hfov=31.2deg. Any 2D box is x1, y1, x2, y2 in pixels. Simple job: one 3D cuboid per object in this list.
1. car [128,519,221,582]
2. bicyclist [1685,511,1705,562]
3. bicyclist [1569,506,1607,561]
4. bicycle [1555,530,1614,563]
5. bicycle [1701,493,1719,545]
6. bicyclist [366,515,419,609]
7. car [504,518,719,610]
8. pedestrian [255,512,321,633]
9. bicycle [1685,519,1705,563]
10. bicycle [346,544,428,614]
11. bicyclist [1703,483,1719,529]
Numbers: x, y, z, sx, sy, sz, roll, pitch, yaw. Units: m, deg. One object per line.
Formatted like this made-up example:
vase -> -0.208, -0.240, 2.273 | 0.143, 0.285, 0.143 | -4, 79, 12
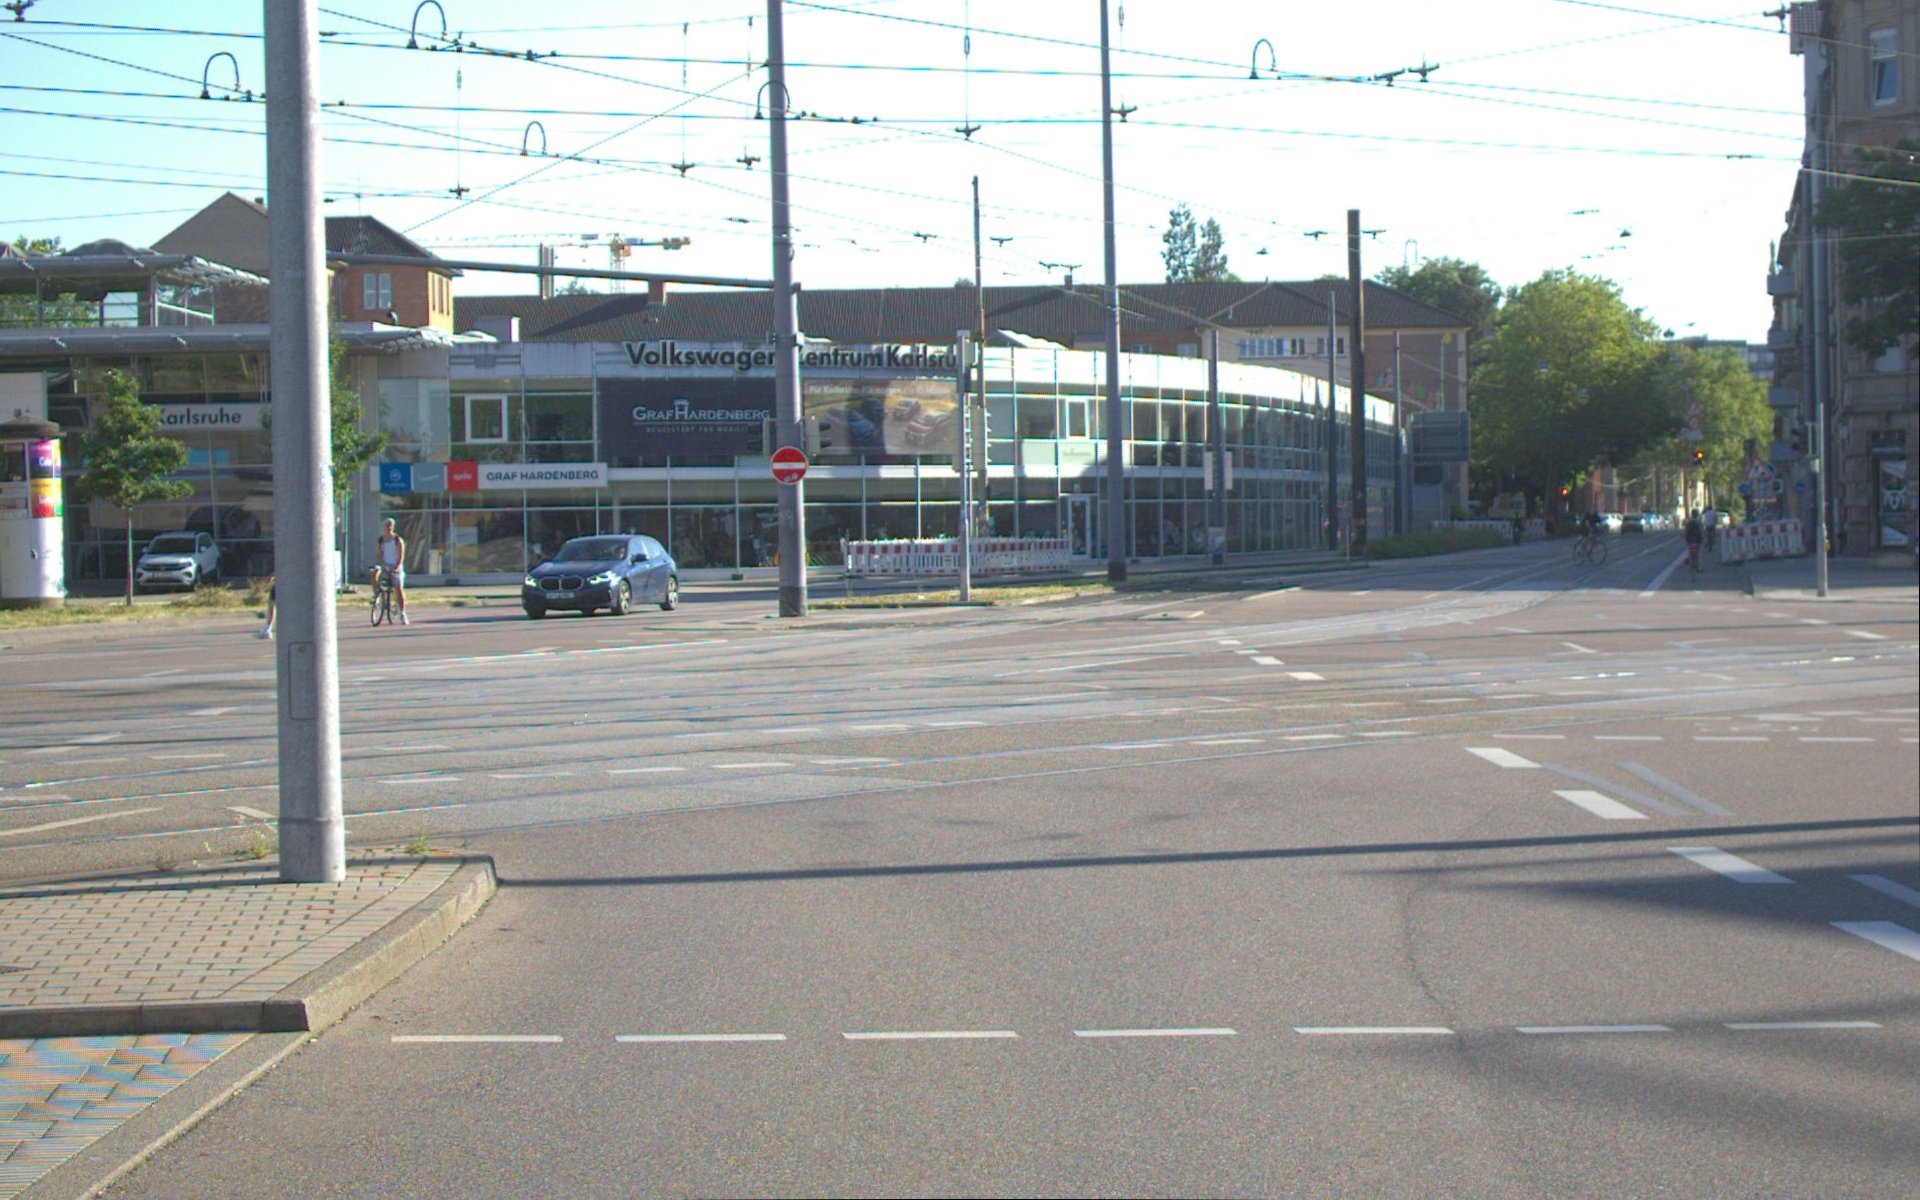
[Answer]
car -> -22.665, -1.421, 99.342 | 1.993, 1.744, 4.001 | 1, 1, -4
bicyclist -> 16.245, -1.397, 76.000 | 0.408, 1.112, 0.399 | 1, 0, 11
bicyclist -> 18.243, -1.938, 99.831 | 0.772, 1.571, 0.761 | 0, 1, -42
bicycle -> 18.156, -1.550, 100.042 | 0.657, 0.949, 1.599 | 0, 1, -43
bicycle -> 29.967, -3.234, 137.398 | 0.618, 2.007, 2.398 | 1, 0, 13
bicyclist -> -9.871, -0.665, 59.809 | 0.598, 1.610, 0.822 | 1, 0, 17
car -> -6.219, -0.634, 61.778 | 1.996, 1.579, 3.994 | 1, 1, 27
pedestrian -> -10.597, -0.436, 54.218 | 0.795, 1.880, 0.758 | 1, 0, 7
bicycle -> 16.244, -1.299, 76.002 | 0.410, 0.938, 1.844 | 1, 1, 12
bicycle -> -9.926, -0.359, 59.648 | 0.613, 1.185, 1.867 | 1, 1, 17
bicyclist -> 29.972, -3.750, 137.221 | 0.599, 1.803, 0.827 | 1, 0, 13
